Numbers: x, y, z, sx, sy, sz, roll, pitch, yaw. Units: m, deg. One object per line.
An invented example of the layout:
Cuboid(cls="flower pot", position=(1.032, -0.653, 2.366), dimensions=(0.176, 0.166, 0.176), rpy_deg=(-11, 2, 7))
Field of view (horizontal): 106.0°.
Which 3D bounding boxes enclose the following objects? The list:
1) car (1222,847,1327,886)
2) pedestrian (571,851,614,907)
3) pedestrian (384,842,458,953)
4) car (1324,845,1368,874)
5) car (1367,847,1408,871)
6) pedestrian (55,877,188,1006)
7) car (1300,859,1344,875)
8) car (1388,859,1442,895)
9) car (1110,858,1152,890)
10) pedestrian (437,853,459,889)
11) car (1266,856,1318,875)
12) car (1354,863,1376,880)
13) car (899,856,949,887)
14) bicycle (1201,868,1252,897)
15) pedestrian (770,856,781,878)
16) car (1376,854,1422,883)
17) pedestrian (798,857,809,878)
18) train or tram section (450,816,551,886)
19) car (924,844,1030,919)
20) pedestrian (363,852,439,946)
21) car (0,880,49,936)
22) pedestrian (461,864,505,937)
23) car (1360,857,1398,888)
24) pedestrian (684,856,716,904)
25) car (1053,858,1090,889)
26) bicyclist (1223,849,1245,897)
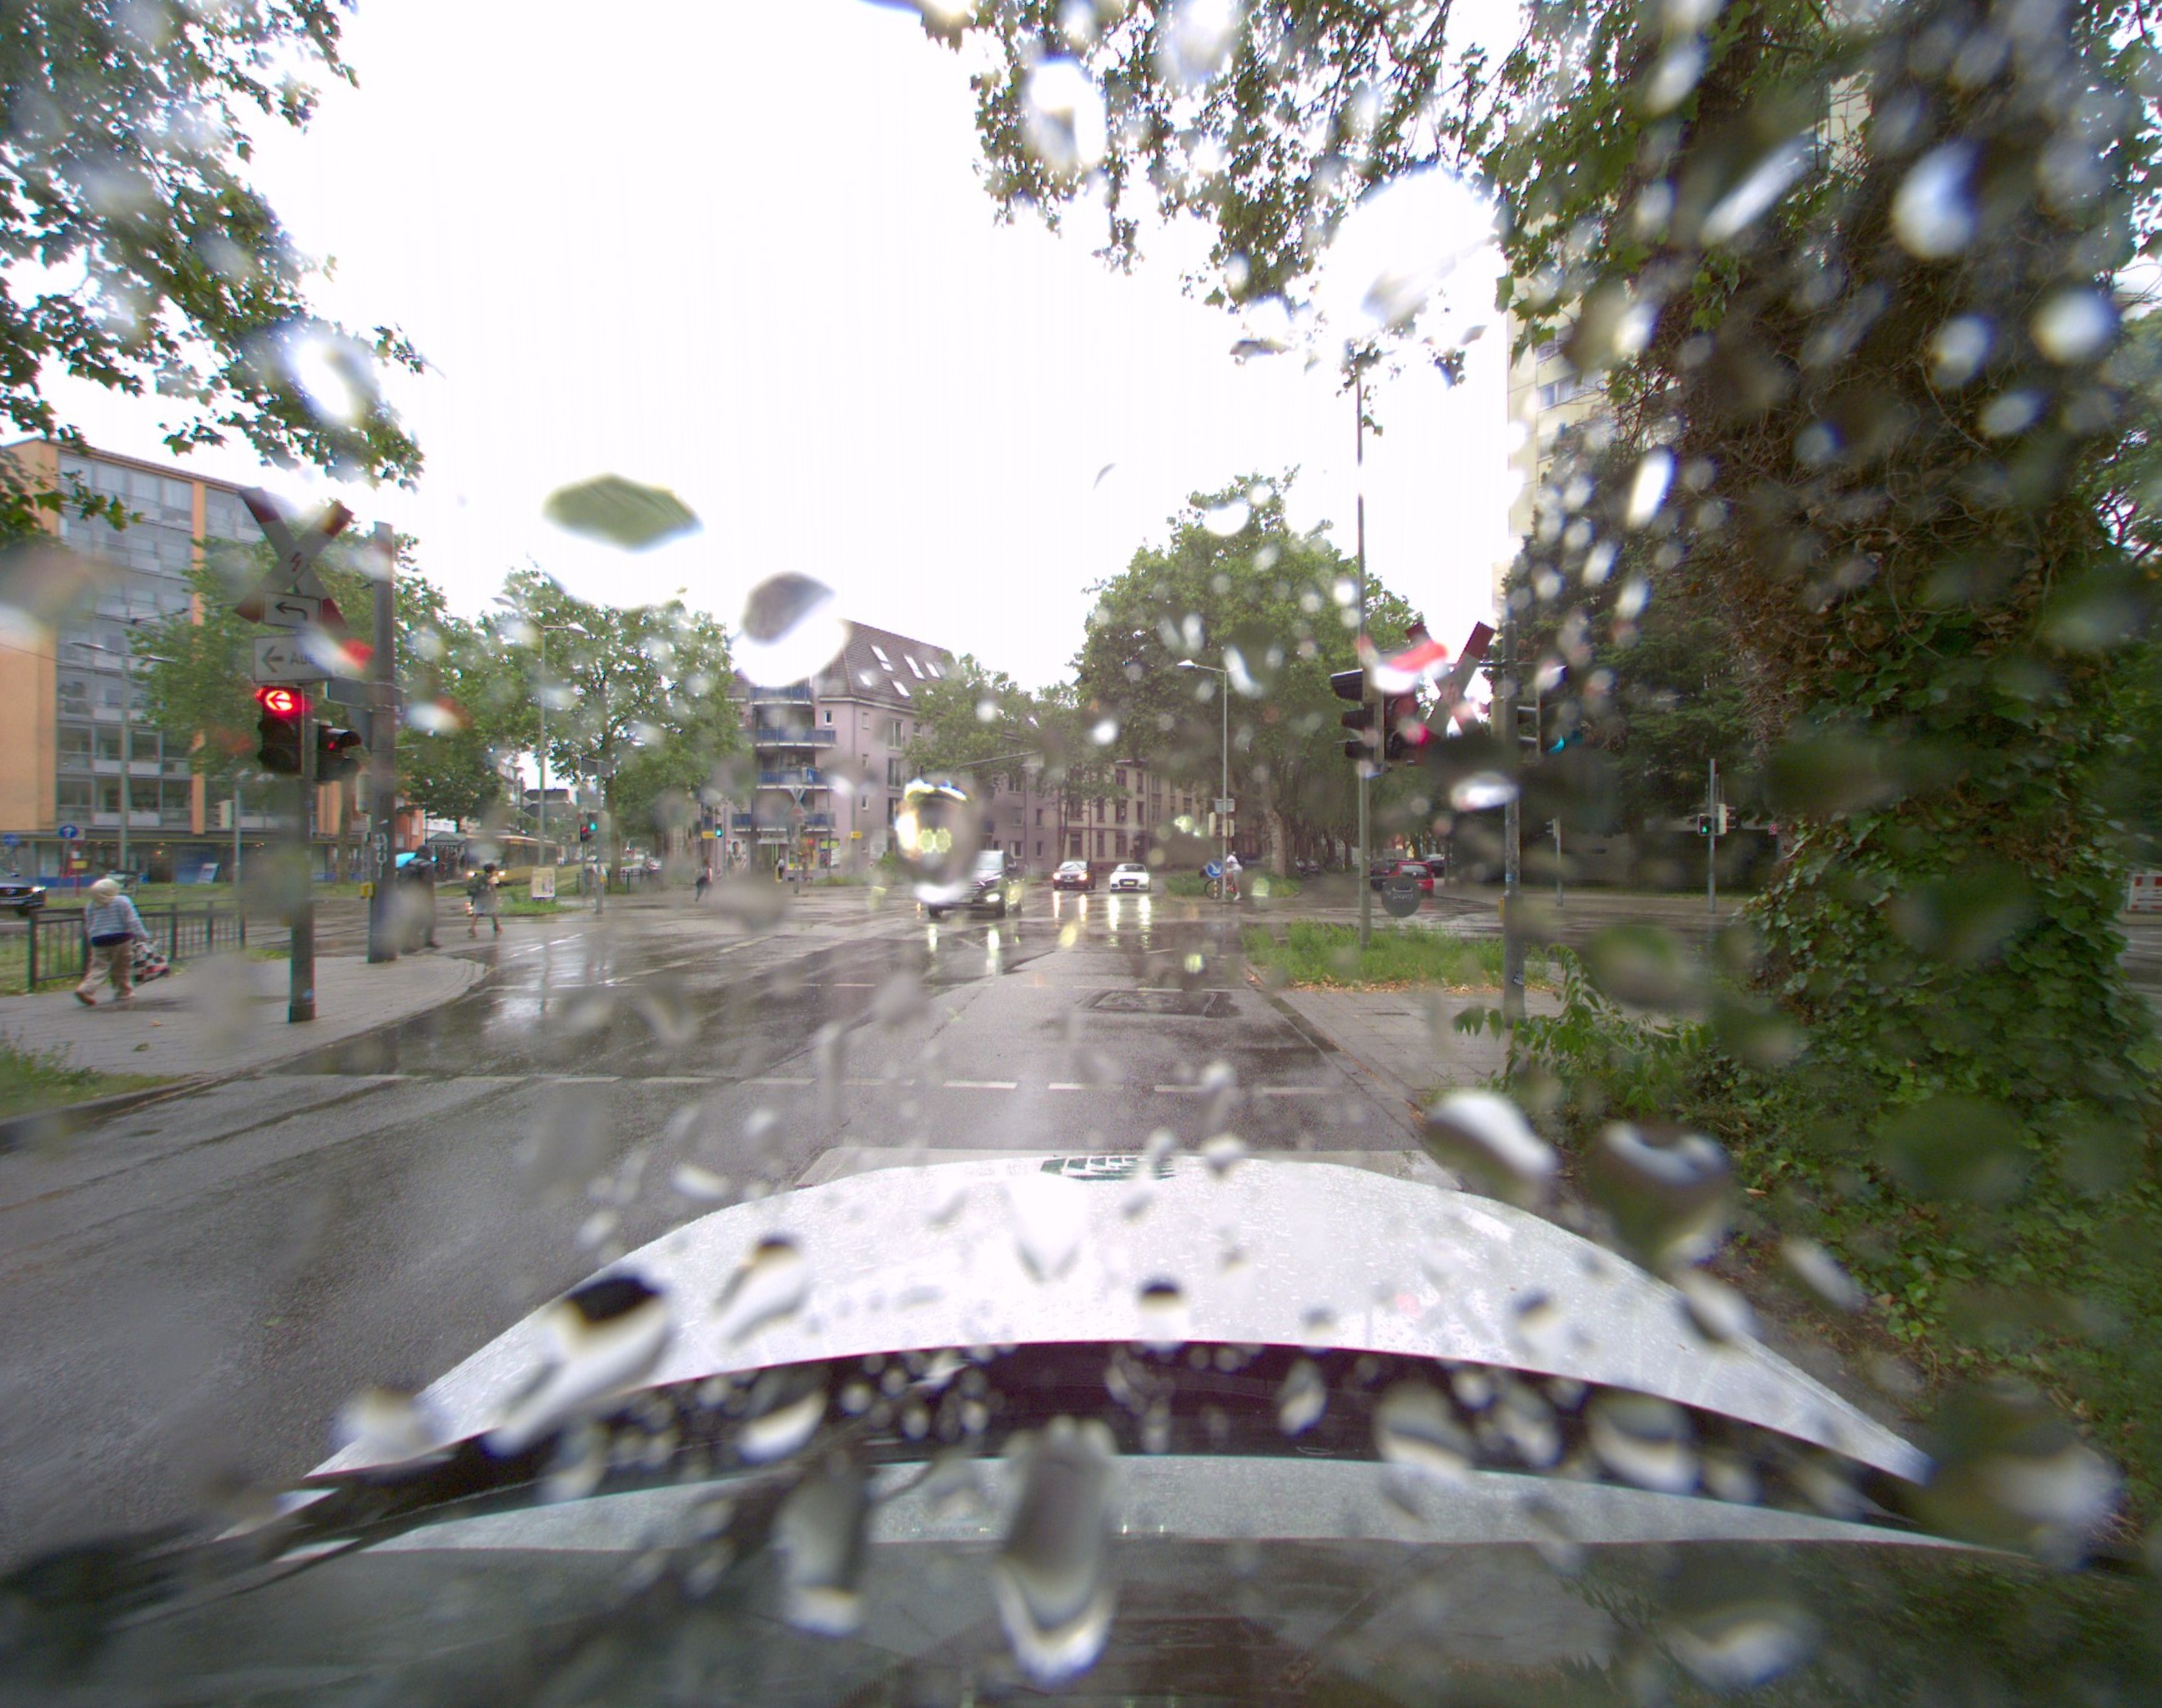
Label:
Cuboid(cls="car", position=(7.749, 0.514, 32.665), dimensions=(3.958, 1.486, 2.008), rpy_deg=(-1, -1, 14))
Cuboid(cls="pedestrian", position=(-14.374, 0.731, 23.993), dimensions=(0.671, 1.600, 0.968), rpy_deg=(0, -1, 2))
Cuboid(cls="pedestrian", position=(-11.327, 0.724, 14.010), dimensions=(0.790, 1.855, 0.677), rpy_deg=(0, 0, -18))
Cuboid(cls="car", position=(28.319, 0.581, 87.219), dimensions=(2.040, 2.948, 4.742), rpy_deg=(0, -1, -18))
Cuboid(cls="car", position=(38.985, 0.634, 103.570), dimensions=(2.006, 2.948, 4.726), rpy_deg=(0, -1, -29))
Cuboid(cls="pedestrian", position=(-10.672, 0.946, 9.085), dimensions=(0.657, 1.349, 0.706), rpy_deg=(0, 0, -12))
Cuboid(cls="car", position=(23.133, 1.247, 78.263), dimensions=(3.958, 1.547, 2.008), rpy_deg=(-1, -1, 14))
Cuboid(cls="car", position=(14.822, 0.977, 36.336), dimensions=(1.778, 1.498, 4.017), rpy_deg=(0, 0, 16))
Cuboid(cls="car", position=(2.424, 0.931, 39.188), dimensions=(1.876, 1.436, 4.004), rpy_deg=(0, 0, 4))
Cuboid(cls="pedestrian", position=(-38.083, 1.031, 48.993), dimensions=(0.889, 2.151, 0.902), rpy_deg=(0, -1, -30))
Cuboid(cls="car", position=(16.921, 0.904, 65.203), dimensions=(3.958, 1.486, 2.008), rpy_deg=(-1, -1, 14))
Cuboid(cls="car", position=(26.065, 1.570, 74.591), dimensions=(1.666, 1.474, 3.683), rpy_deg=(-1, -1, 23))
Cuboid(cls="car", position=(-8.010, 0.848, 41.843), dimensions=(1.745, 1.512, 3.839), rpy_deg=(0, 0, 1))
Cuboid(cls="bicycle", position=(5.432, 1.065, 30.404), dimensions=(1.862, 1.081, 0.658), rpy_deg=(-1, -1, 9))
Cuboid(cls="pedestrian", position=(-19.876, 0.854, 52.969), dimensions=(0.441, 1.457, 0.563), rpy_deg=(-1, -1, 9))
Cuboid(cls="car", position=(15.891, 0.692, 40.872), dimensions=(1.770, 1.348, 3.945), rpy_deg=(0, 1, 16))
Cuboid(cls="pedestrian", position=(-17.969, 0.853, 52.778), dimensions=(0.441, 1.329, 0.563), rpy_deg=(-1, -1, 9))
Cuboid(cls="train or tram section", position=(-36.318, -0.076, 51.694), dimensions=(2.897, 3.768, 17.089), rpy_deg=(0, -1, -28))
Cuboid(cls="car", position=(-2.497, 0.624, 20.669), dimensions=(1.795, 1.682, 4.608), rpy_deg=(0, 0, 4))
Cuboid(cls="pedestrian", position=(-13.376, 0.858, 16.057), dimensions=(0.962, 1.766, 0.944), rpy_deg=(0, -1, -28))
Cuboid(cls="car", position=(-32.267, 1.536, 23.393), dimensions=(3.994, 1.530, 1.615), rpy_deg=(0, 1, 12))
Cuboid(cls="pedestrian", position=(-11.842, 0.894, 16.140), dimensions=(0.653, 1.396, 0.774), rpy_deg=(0, 0, -33))
Cuboid(cls="car", position=(17.322, 1.059, 47.428), dimensions=(1.769, 1.727, 4.017), rpy_deg=(-1, -1, 16))
Cuboid(cls="pedestrian", position=(-12.468, 0.844, 26.690), dimensions=(0.749, 1.533, 0.789), rpy_deg=(0, -1, -9))
Cuboid(cls="car", position=(-0.450, 0.955, 41.387), dimensions=(1.708, 1.459, 3.748), rpy_deg=(0, -1, 1))
Cuboid(cls="bicyclist", position=(5.687, 0.710, 30.369), dimensions=(0.790, 1.786, 0.699), rpy_deg=(-1, -1, 9))
